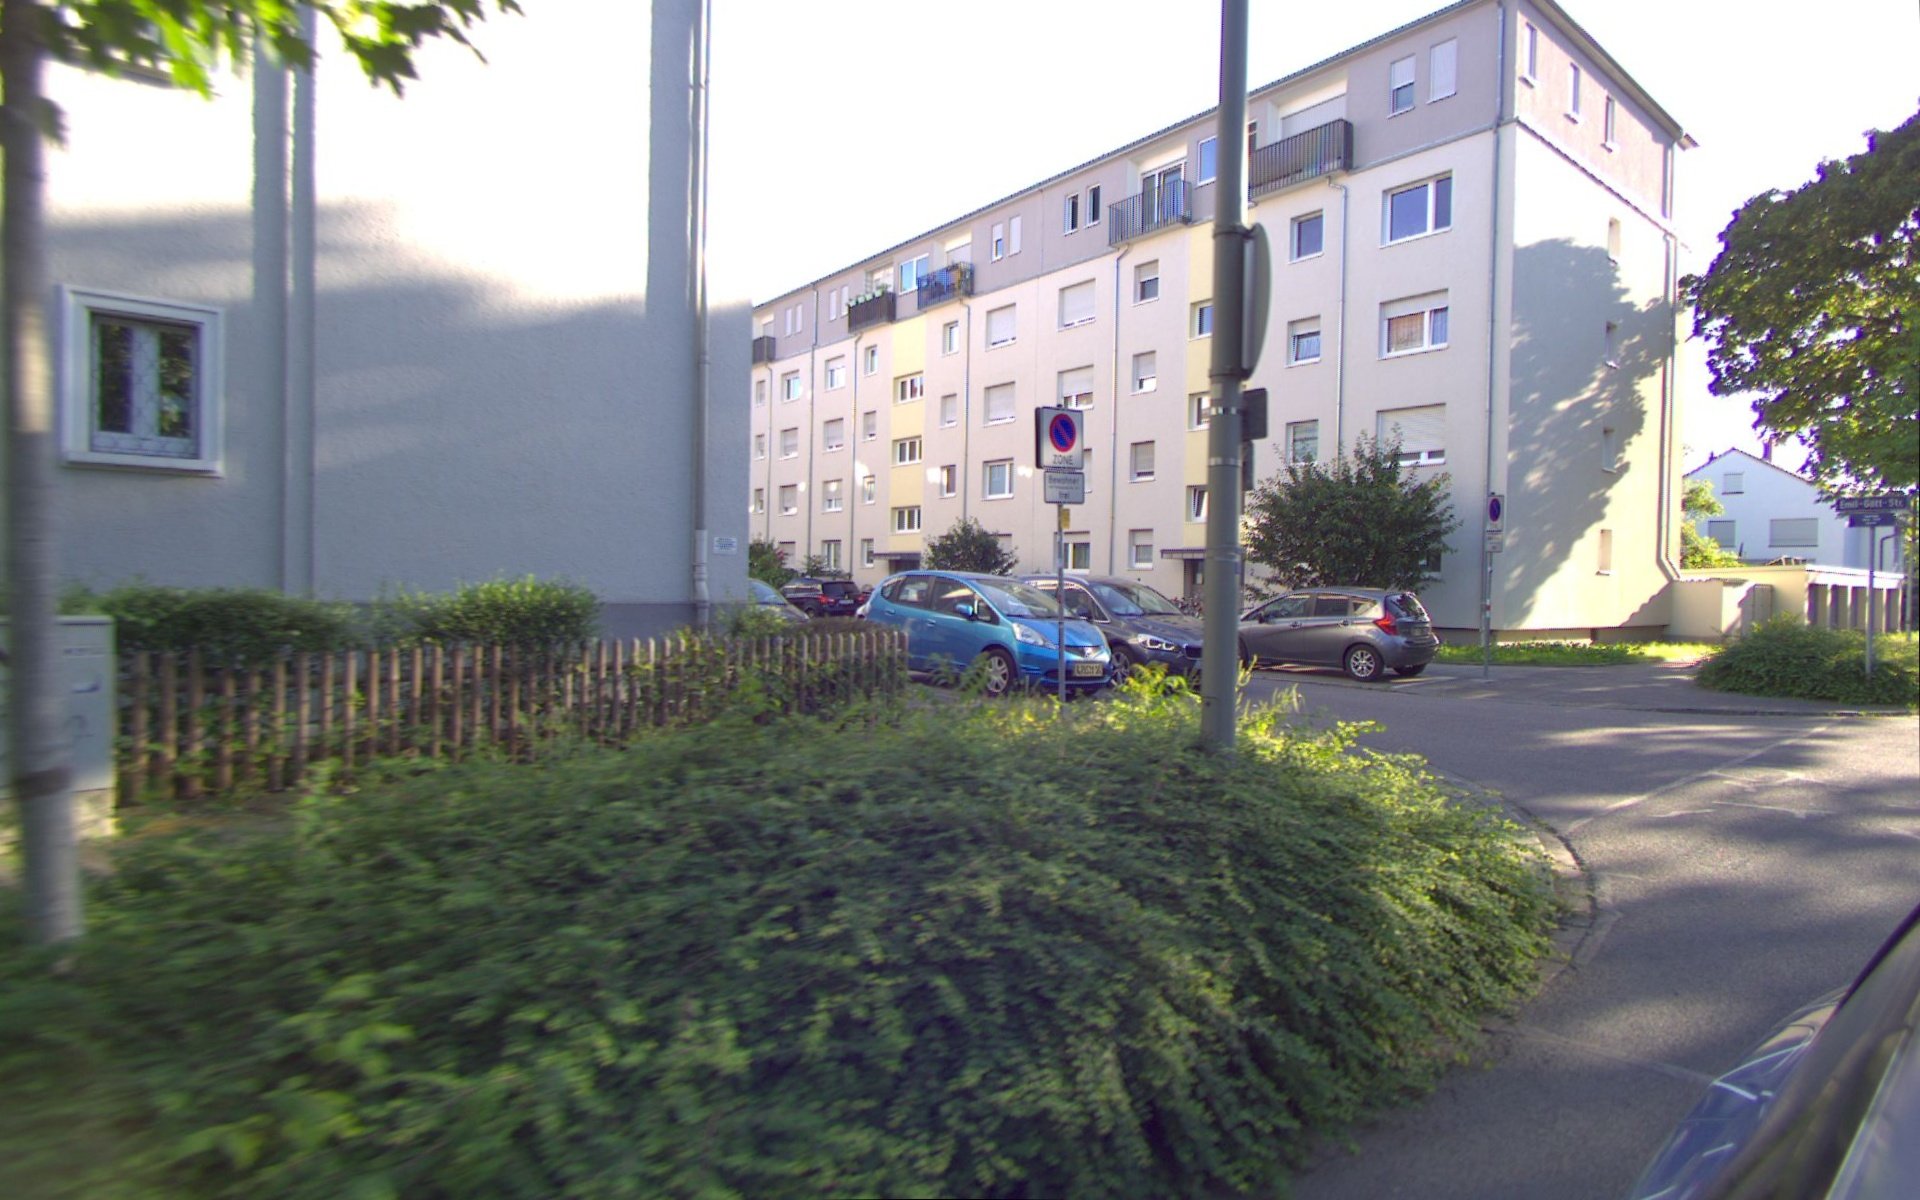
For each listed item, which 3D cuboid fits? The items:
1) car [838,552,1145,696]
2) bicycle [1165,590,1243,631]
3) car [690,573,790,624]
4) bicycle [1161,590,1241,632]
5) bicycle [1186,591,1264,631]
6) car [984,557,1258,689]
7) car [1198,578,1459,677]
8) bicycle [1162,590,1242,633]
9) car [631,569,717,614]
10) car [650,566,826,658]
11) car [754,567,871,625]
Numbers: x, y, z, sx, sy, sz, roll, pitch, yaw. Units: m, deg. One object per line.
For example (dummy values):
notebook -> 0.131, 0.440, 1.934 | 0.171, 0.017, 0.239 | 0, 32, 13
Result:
car -> 0.280, 0.224, 13.328 | 1.778, 1.601, 3.994 | 2, 0, -41
bicycle -> 6.185, 0.249, 25.772 | 0.536, 0.971, 1.972 | 0, 1, -42
car -> -7.856, -0.073, 35.947 | 1.865, 1.687, 3.772 | 2, 0, -41
bicycle -> 5.952, 0.251, 25.124 | 0.536, 0.971, 1.972 | 0, 1, -42
bicycle -> 6.785, 0.255, 25.972 | 0.536, 0.971, 1.972 | 0, 1, -42
car -> 2.250, 0.302, 15.304 | 1.734, 1.695, 4.282 | 0, 0, -31
car -> 6.384, 0.396, 17.876 | 1.696, 1.533, 4.048 | -2, 2, -40
bicycle -> 5.818, 0.268, 24.386 | 0.536, 0.971, 1.904 | 0, 1, -42
car -> -11.448, -0.363, 40.346 | 1.865, 1.687, 3.772 | 2, 0, -41
car -> -4.175, 0.167, 18.624 | 1.618, 1.516, 3.833 | 0, 0, -39
car -> -4.619, -0.164, 31.301 | 1.866, 1.687, 3.772 | 0, 2, -41
